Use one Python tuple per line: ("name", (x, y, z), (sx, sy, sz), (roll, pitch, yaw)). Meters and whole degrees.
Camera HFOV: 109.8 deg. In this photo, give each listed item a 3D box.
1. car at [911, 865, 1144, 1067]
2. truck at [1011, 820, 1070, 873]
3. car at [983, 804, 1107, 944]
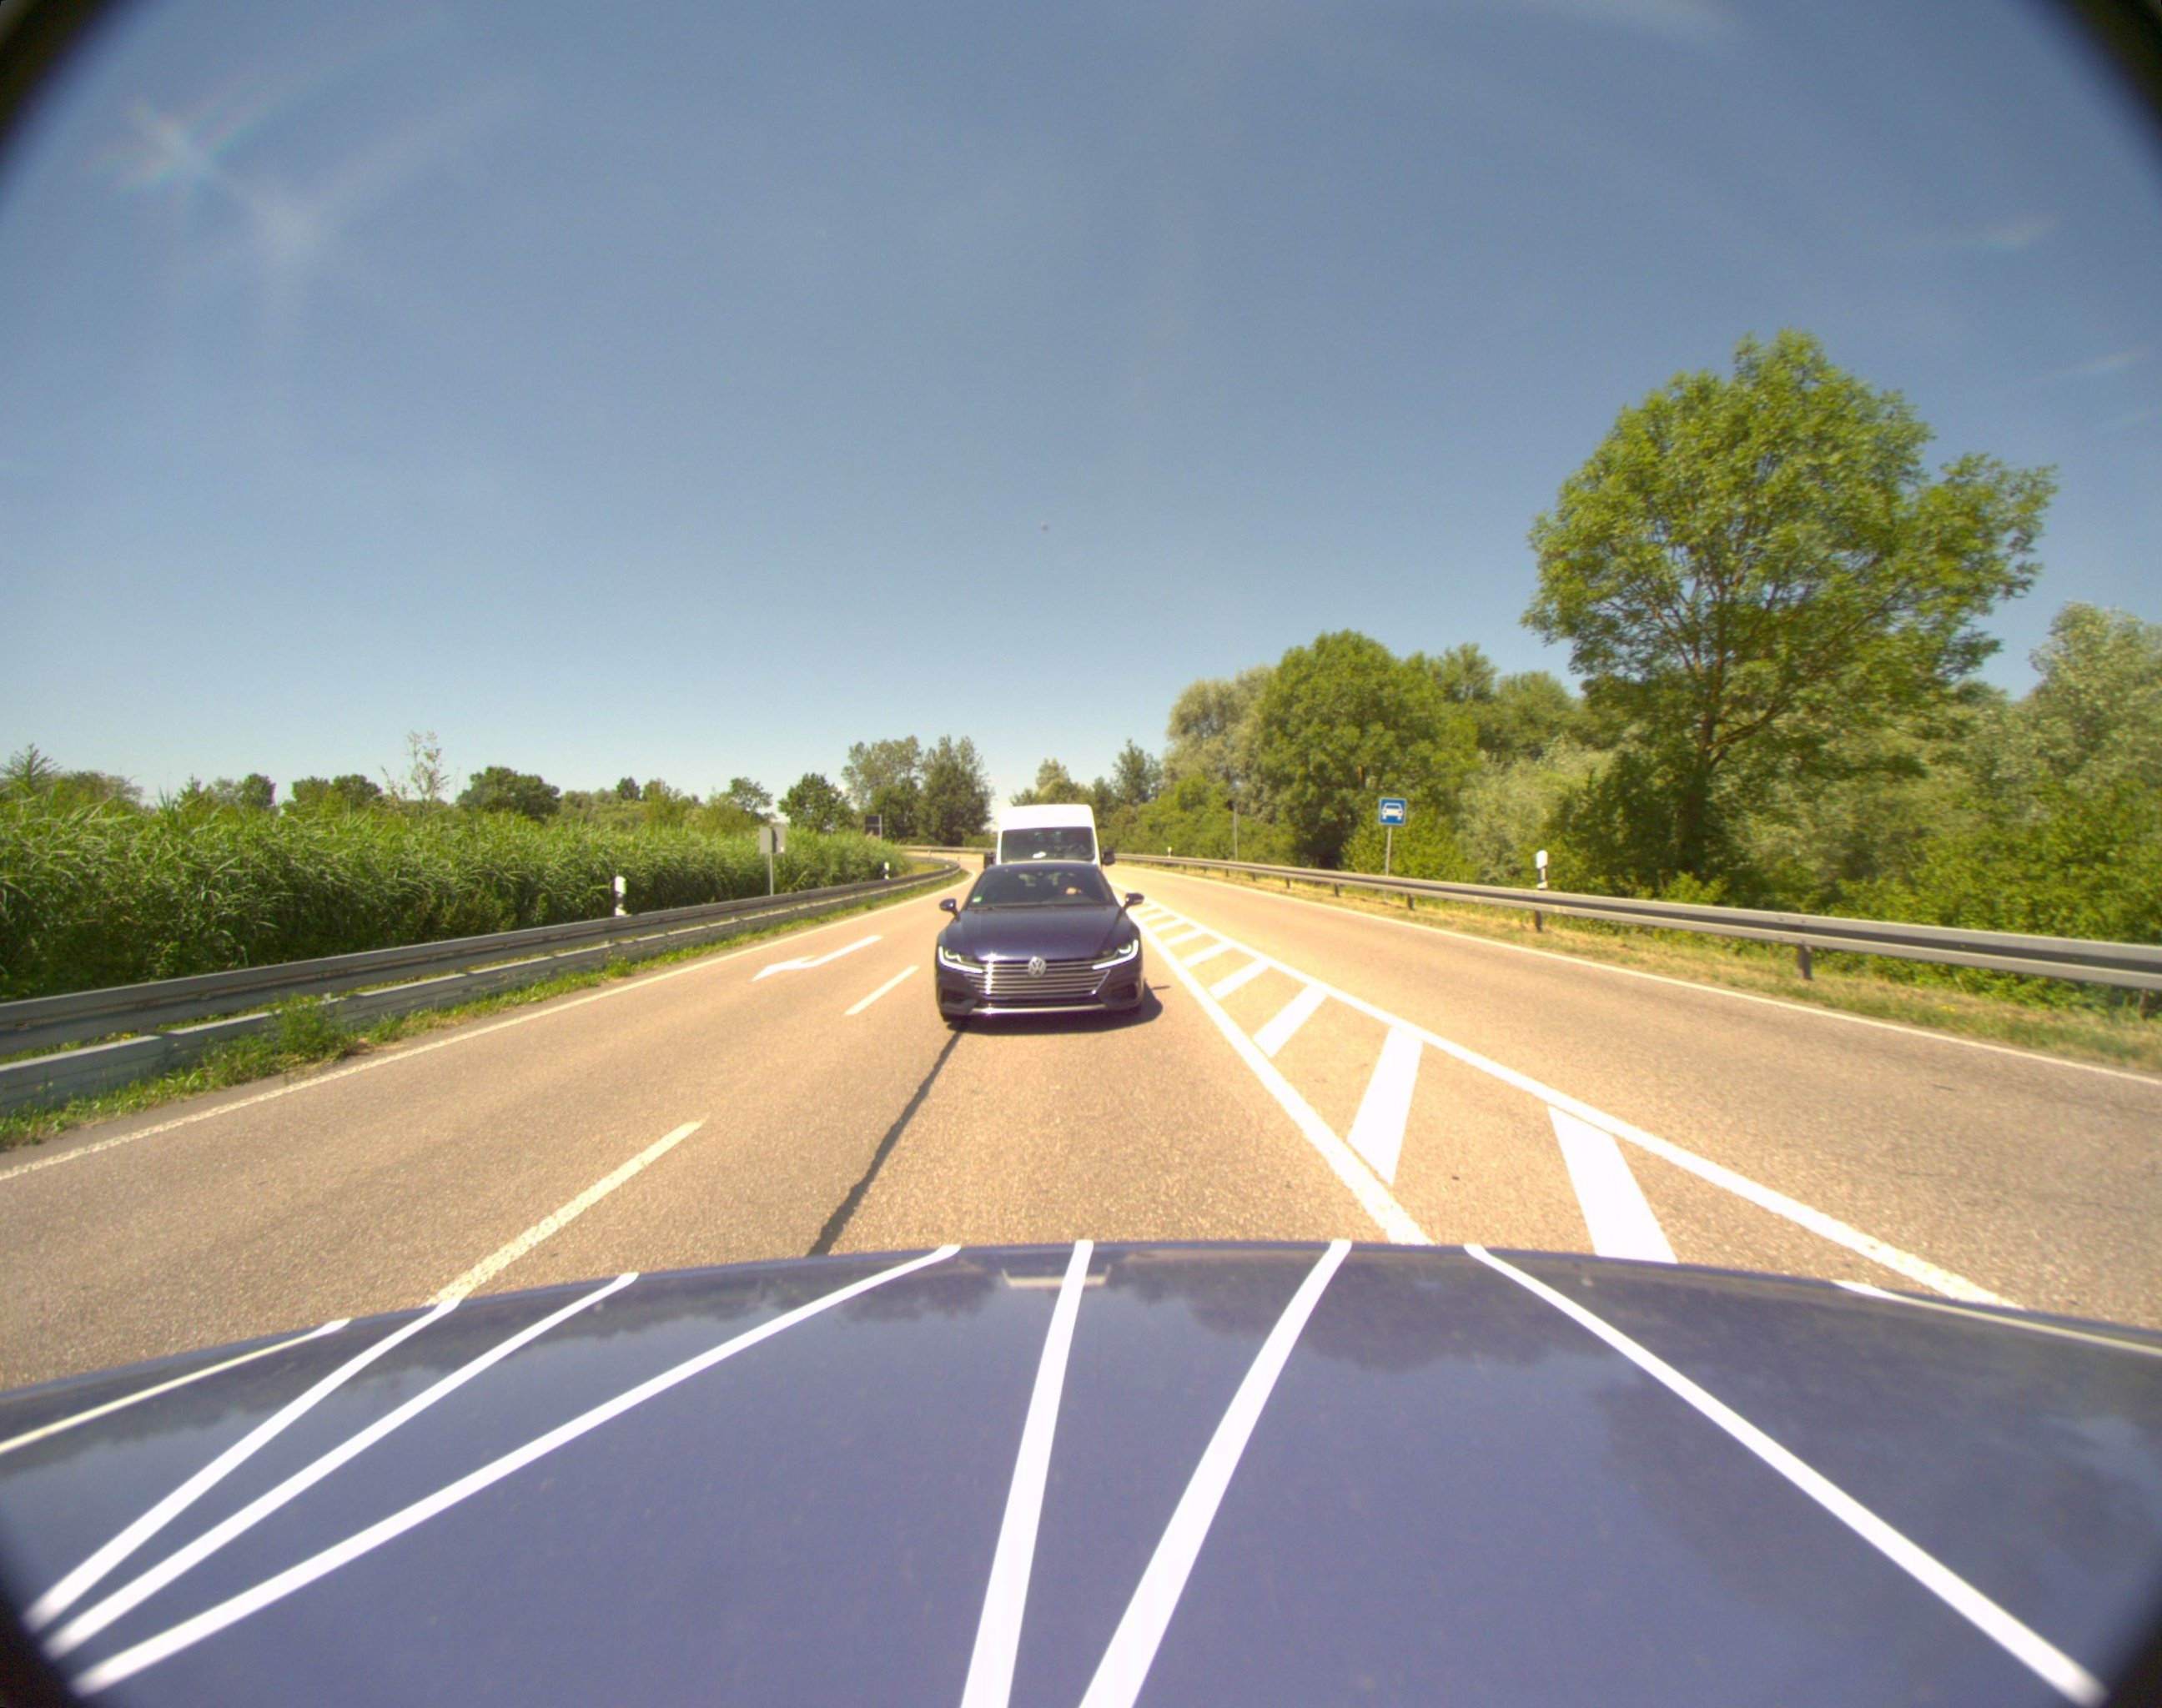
("car", (-0.407, 0.898, 7.895), (1.761, 1.401, 3.999), (-2, 1, 0))
("truck", (-2.779, -0.486, 48.660), (2.578, 3.052, 9.070), (-2, 1, -10))
("car", (-0.615, 0.303, 16.065), (2.059, 2.376, 5.825), (-2, 1, 0))
